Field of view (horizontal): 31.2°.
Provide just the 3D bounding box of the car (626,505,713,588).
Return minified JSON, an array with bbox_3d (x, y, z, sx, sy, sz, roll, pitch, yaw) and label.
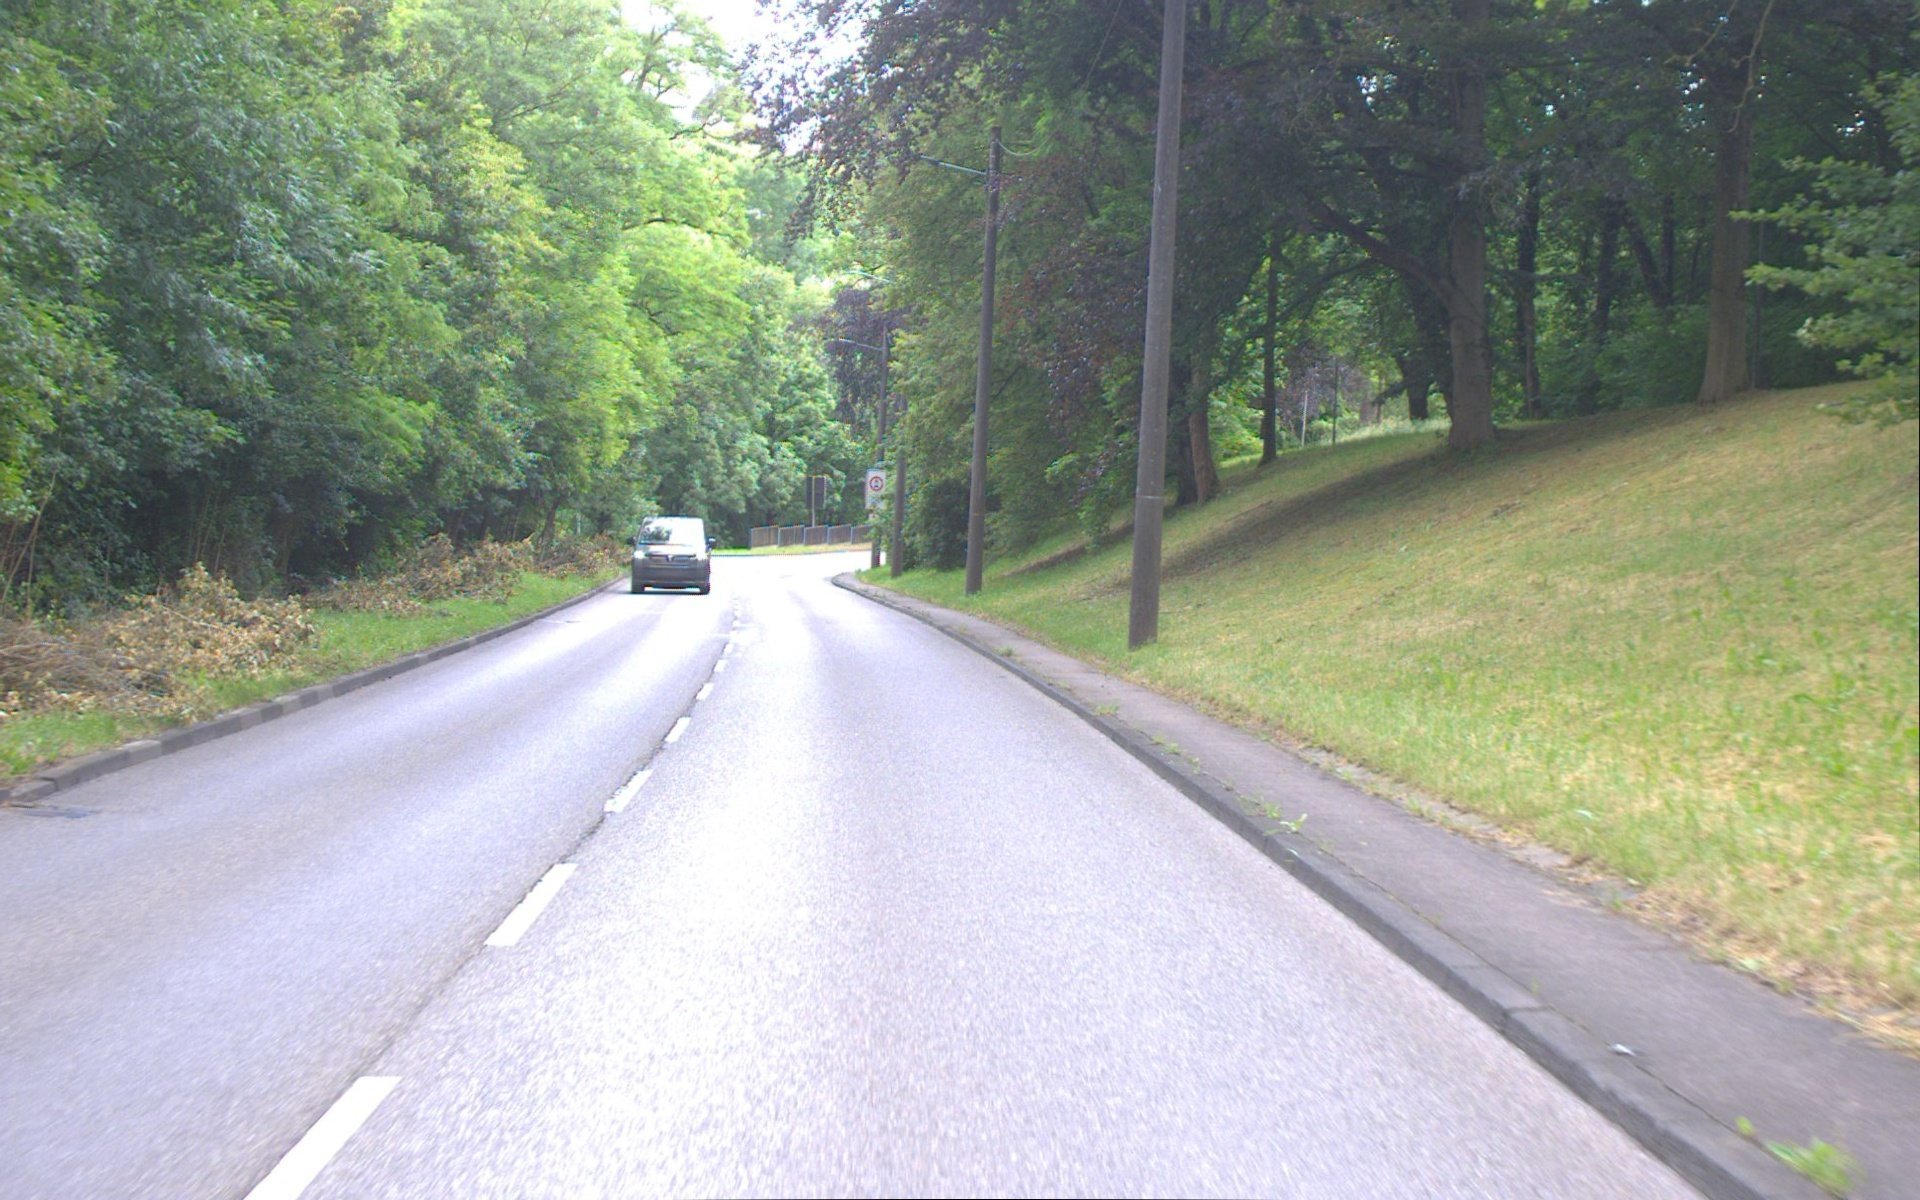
[{"bbox_3d":[-7.171,-1.319,85.252,1.993,1.941,4.946,1,1,-4],"label":"car"}]
